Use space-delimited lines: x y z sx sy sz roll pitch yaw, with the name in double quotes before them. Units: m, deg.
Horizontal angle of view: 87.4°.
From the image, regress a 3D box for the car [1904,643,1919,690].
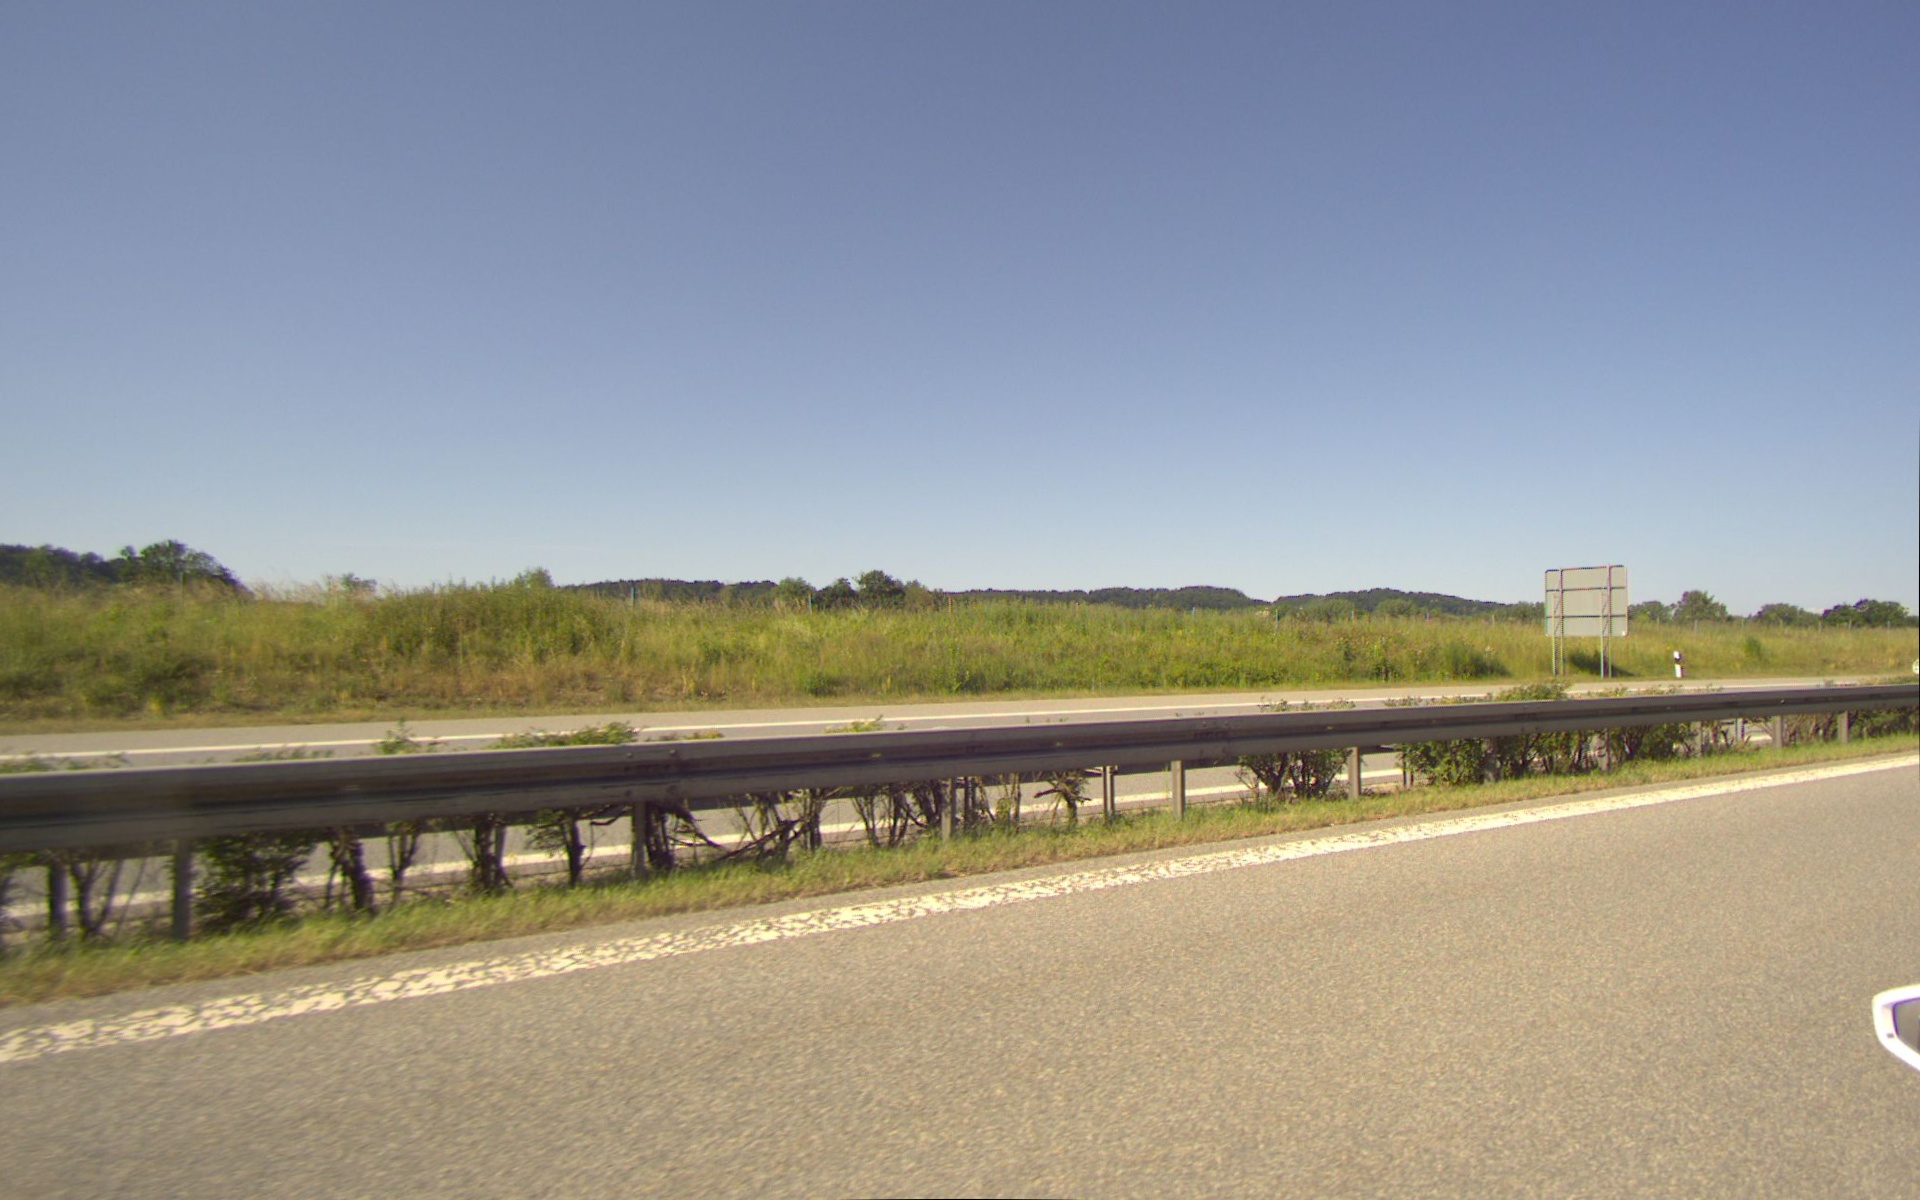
"car" 35.863 2.321 35.828 4.948 1.644 1.758 1 -4 -30
